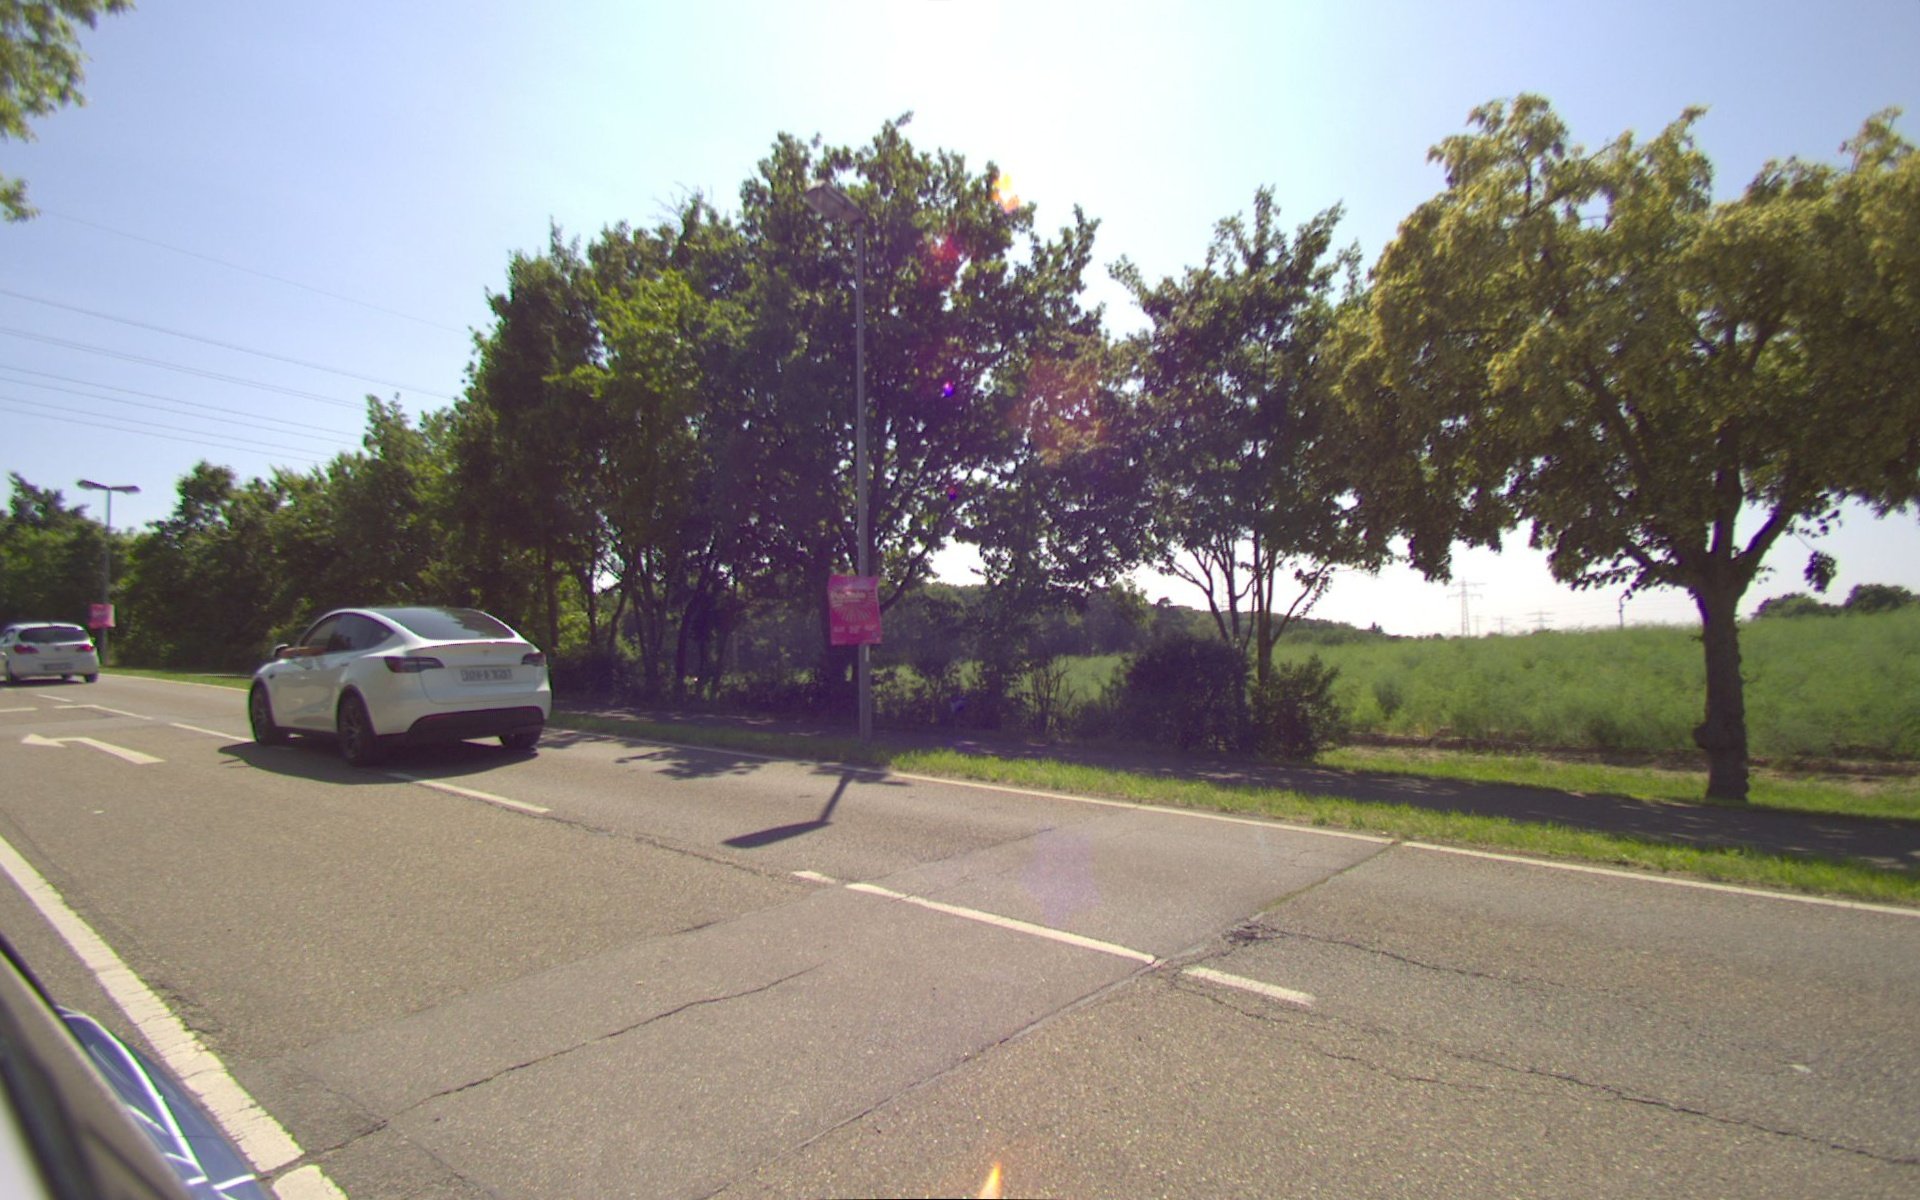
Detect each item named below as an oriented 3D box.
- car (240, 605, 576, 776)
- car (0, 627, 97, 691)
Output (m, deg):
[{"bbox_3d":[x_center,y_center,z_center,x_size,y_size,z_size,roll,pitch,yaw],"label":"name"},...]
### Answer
[{"bbox_3d":[-6.427,0.919,11.570,4.467,1.584,1.857,-2,-2,40],"label":"car"},{"bbox_3d":[-23.045,1.453,25.248,3.892,1.445,1.632,-3,-2,39],"label":"car"}]
